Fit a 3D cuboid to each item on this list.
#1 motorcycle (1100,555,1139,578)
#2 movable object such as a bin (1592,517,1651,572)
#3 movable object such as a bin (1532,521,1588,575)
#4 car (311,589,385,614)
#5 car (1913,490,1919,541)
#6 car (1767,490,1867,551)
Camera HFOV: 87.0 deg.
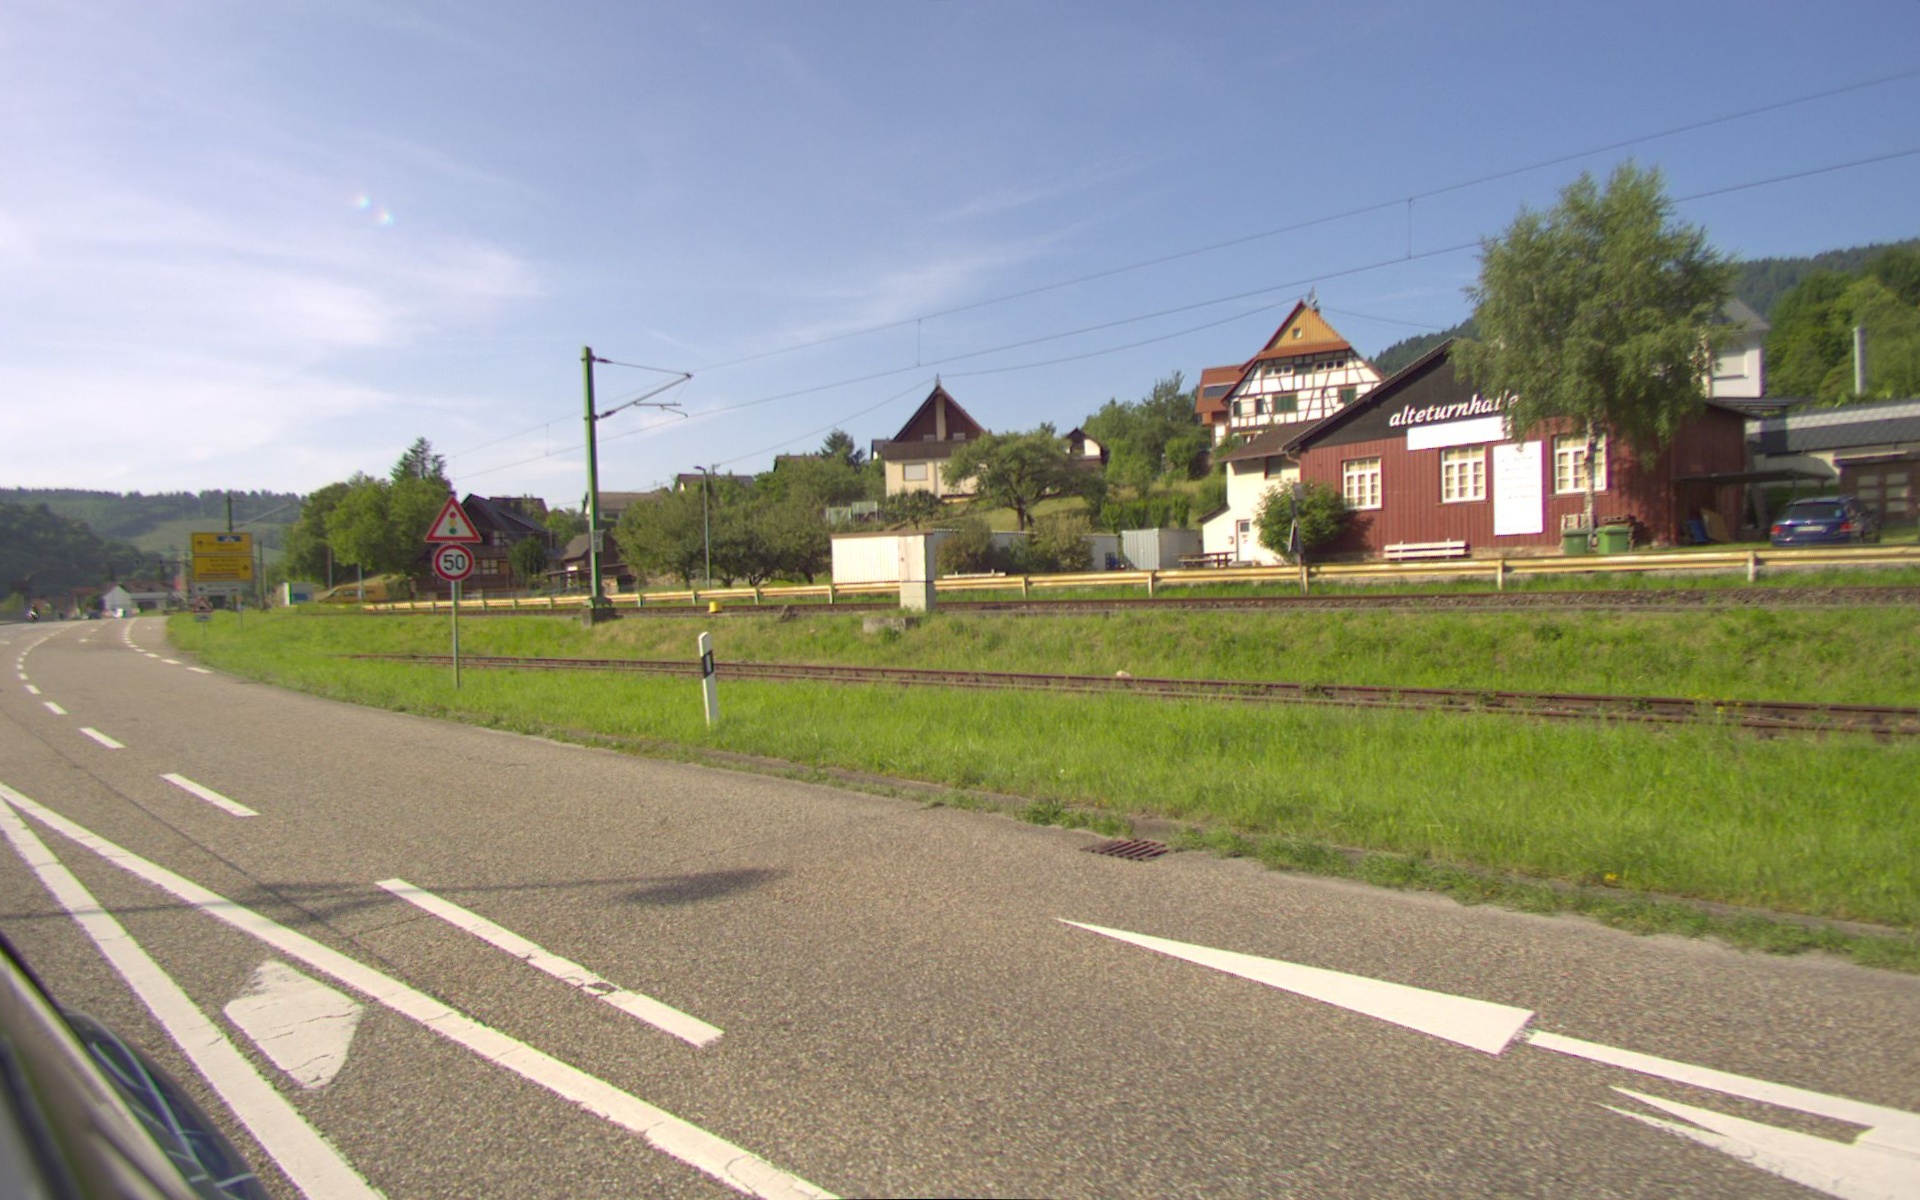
[{"bbox_3d":[7.743,-1.622,49.163,1.744,1.000,0.655,-2,1,44],"label":"motorcycle"},{"bbox_3d":[15.457,-1.294,23.666,1.090,1.200,1.130,-2,1,34],"label":"movable object such as a bin"},{"bbox_3d":[14.452,-1.240,24.375,1.090,1.200,1.130,-2,1,34],"label":"movable object such as a bin"},{"bbox_3d":[-69.680,0.149,115.318,6.966,2.475,2.958,-4,1,-28],"label":"car"},{"bbox_3d":[25.678,-2.230,25.765,1.753,1.339,4.211,-2,1,40],"label":"car"},{"bbox_3d":[21.288,-1.913,25.100,1.736,1.280,4.052,-2,1,42],"label":"car"}]
